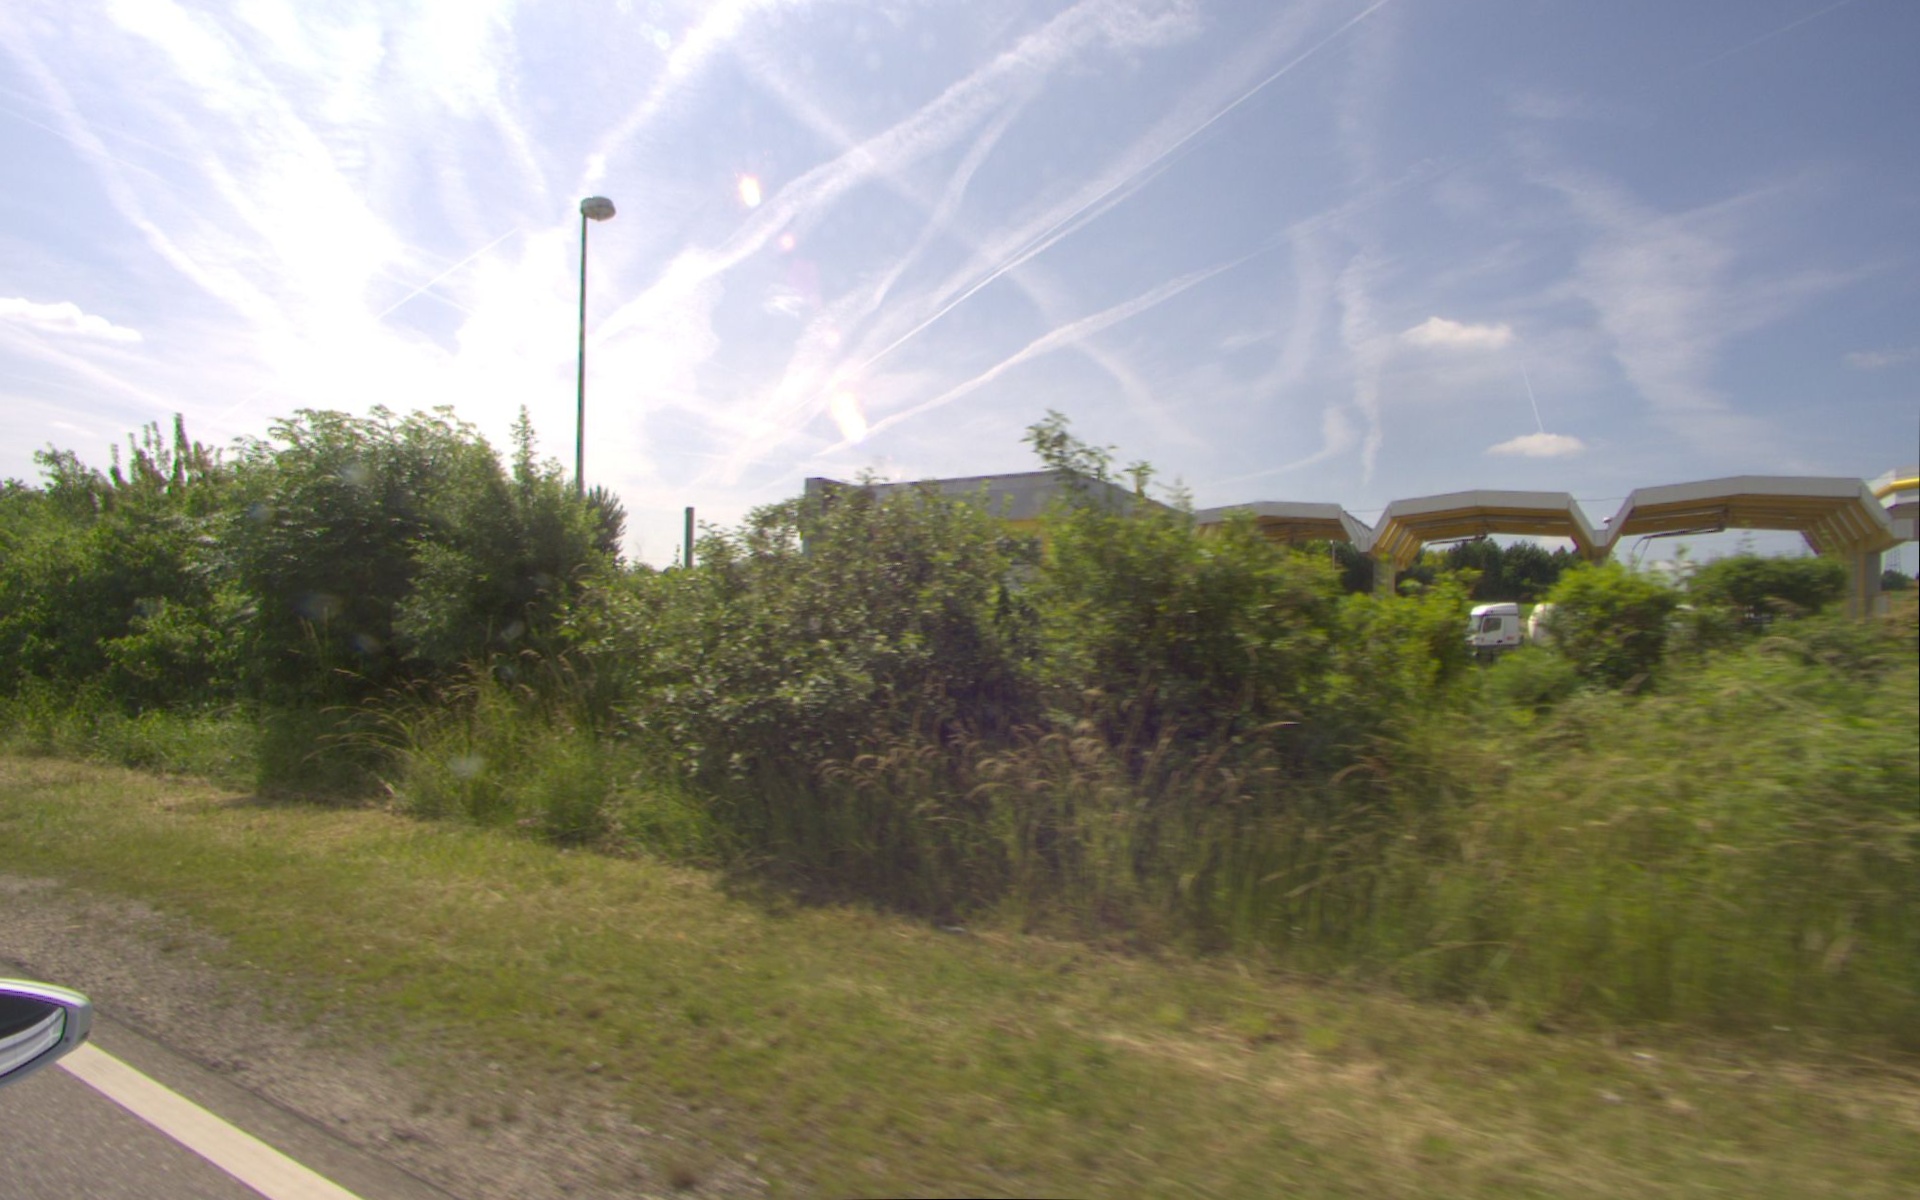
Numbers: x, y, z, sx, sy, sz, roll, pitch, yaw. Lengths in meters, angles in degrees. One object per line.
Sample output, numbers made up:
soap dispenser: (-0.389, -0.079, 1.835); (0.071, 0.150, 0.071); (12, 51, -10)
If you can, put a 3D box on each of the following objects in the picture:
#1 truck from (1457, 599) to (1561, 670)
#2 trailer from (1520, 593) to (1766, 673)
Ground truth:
truck: (29.951, 1.895, 54.713); (4.528, 3.811, 2.001); (0, -1, 2)
trailer: (35.237, 1.743, 52.255); (10.383, 3.850, 1.990); (-1, -2, 32)
